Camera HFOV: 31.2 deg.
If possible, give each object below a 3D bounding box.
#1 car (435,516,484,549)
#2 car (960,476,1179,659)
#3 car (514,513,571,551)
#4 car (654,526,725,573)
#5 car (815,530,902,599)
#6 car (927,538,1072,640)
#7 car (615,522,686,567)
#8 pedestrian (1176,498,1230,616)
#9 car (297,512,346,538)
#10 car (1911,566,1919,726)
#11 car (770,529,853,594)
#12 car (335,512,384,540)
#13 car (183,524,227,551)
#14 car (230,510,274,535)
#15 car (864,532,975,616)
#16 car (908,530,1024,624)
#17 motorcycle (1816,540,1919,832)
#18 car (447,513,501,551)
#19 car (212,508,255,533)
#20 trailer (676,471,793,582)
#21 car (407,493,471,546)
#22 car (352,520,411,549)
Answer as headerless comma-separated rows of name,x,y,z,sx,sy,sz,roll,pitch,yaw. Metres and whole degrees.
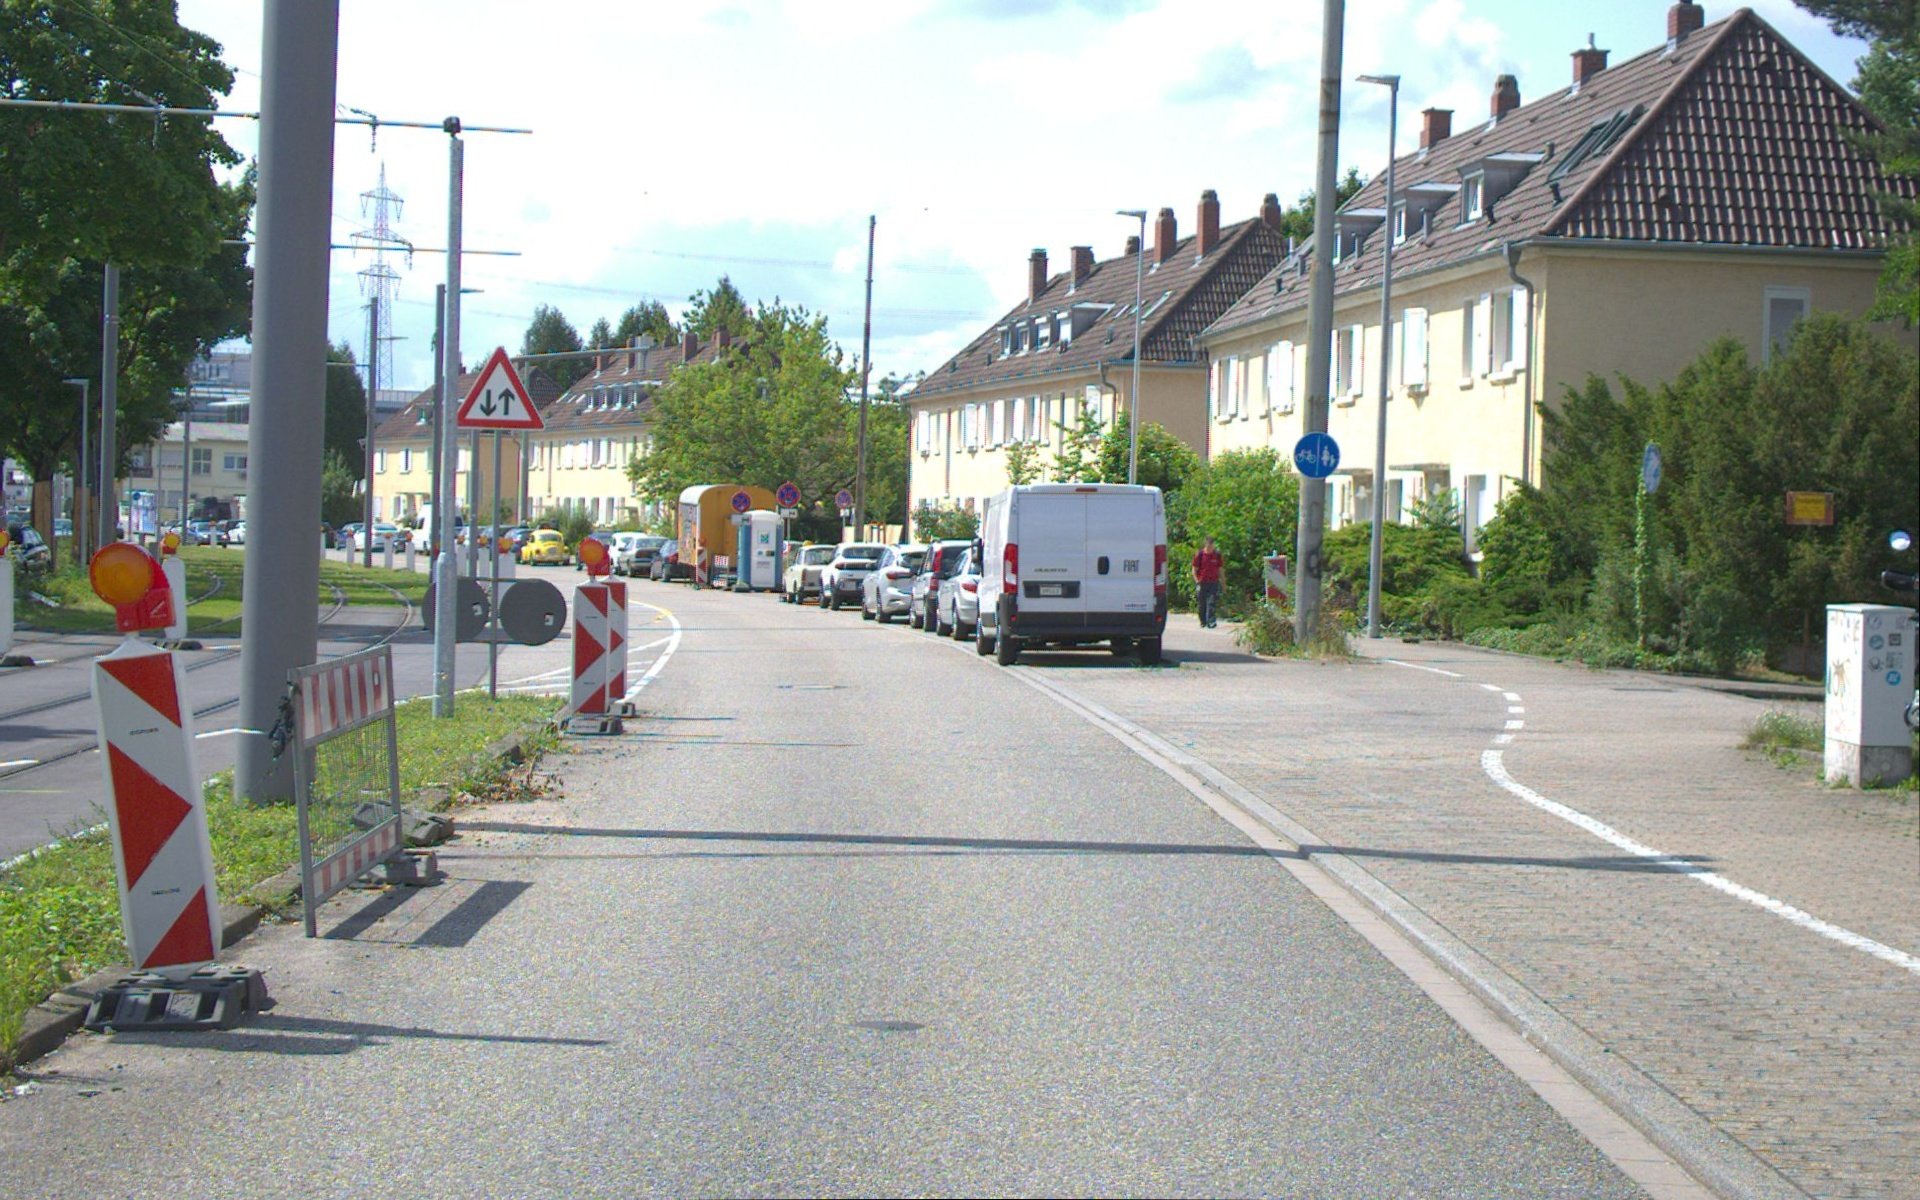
car,-23.371,-3.169,160.470,1.535,1.440,3.738,1,1,-19
car,1.318,-0.463,44.546,2.276,2.175,6.369,1,1,-3
car,-17.280,-2.820,142.106,1.636,1.477,3.933,-2,3,-17
car,-8.870,-1.671,112.501,1.577,1.444,4.455,1,1,-14
car,-2.278,-0.802,76.422,1.527,1.476,3.810,0,1,-7
car,0.578,-0.202,53.946,1.707,1.499,4.256,1,1,-7
car,-10.844,-1.955,120.136,1.706,1.444,4.837,1,1,-14
pedestrian,4.206,-0.745,59.486,0.772,2.007,0.762,1,1,-5
car,-35.466,-4.185,190.845,1.763,1.412,4.001,-1,2,-24
car,9.119,0.530,27.835,1.639,1.376,4.288,2,3,1
car,-3.580,-0.948,82.560,1.463,1.497,4.110,0,1,-10
car,-31.910,-3.926,182.548,1.620,1.412,4.001,-1,2,-24
car,-41.409,-3.446,188.529,1.665,1.444,3.960,-2,2,-23
car,-42.352,-4.661,205.494,1.763,1.434,4.001,-1,2,-24
car,-0.802,-0.516,64.782,1.749,1.492,4.386,0,1,-5
car,0.067,-0.419,58.831,1.628,1.544,3.810,0,1,-5
motorcycle,5.379,0.421,18.155,1.047,1.465,2.585,-1,1,0
car,-22.063,-3.087,155.864,1.635,1.597,4.031,1,1,-19
car,-44.449,-4.850,210.170,1.763,1.497,4.001,-1,2,-24
trailer,-6.860,-2.250,104.240,2.689,3.215,5.084,1,1,-13
car,-25.116,-3.879,165.528,1.929,2.472,5.519,0,2,-21
car,-29.861,-3.365,177.464,1.798,1.453,4.766,-1,2,-25
